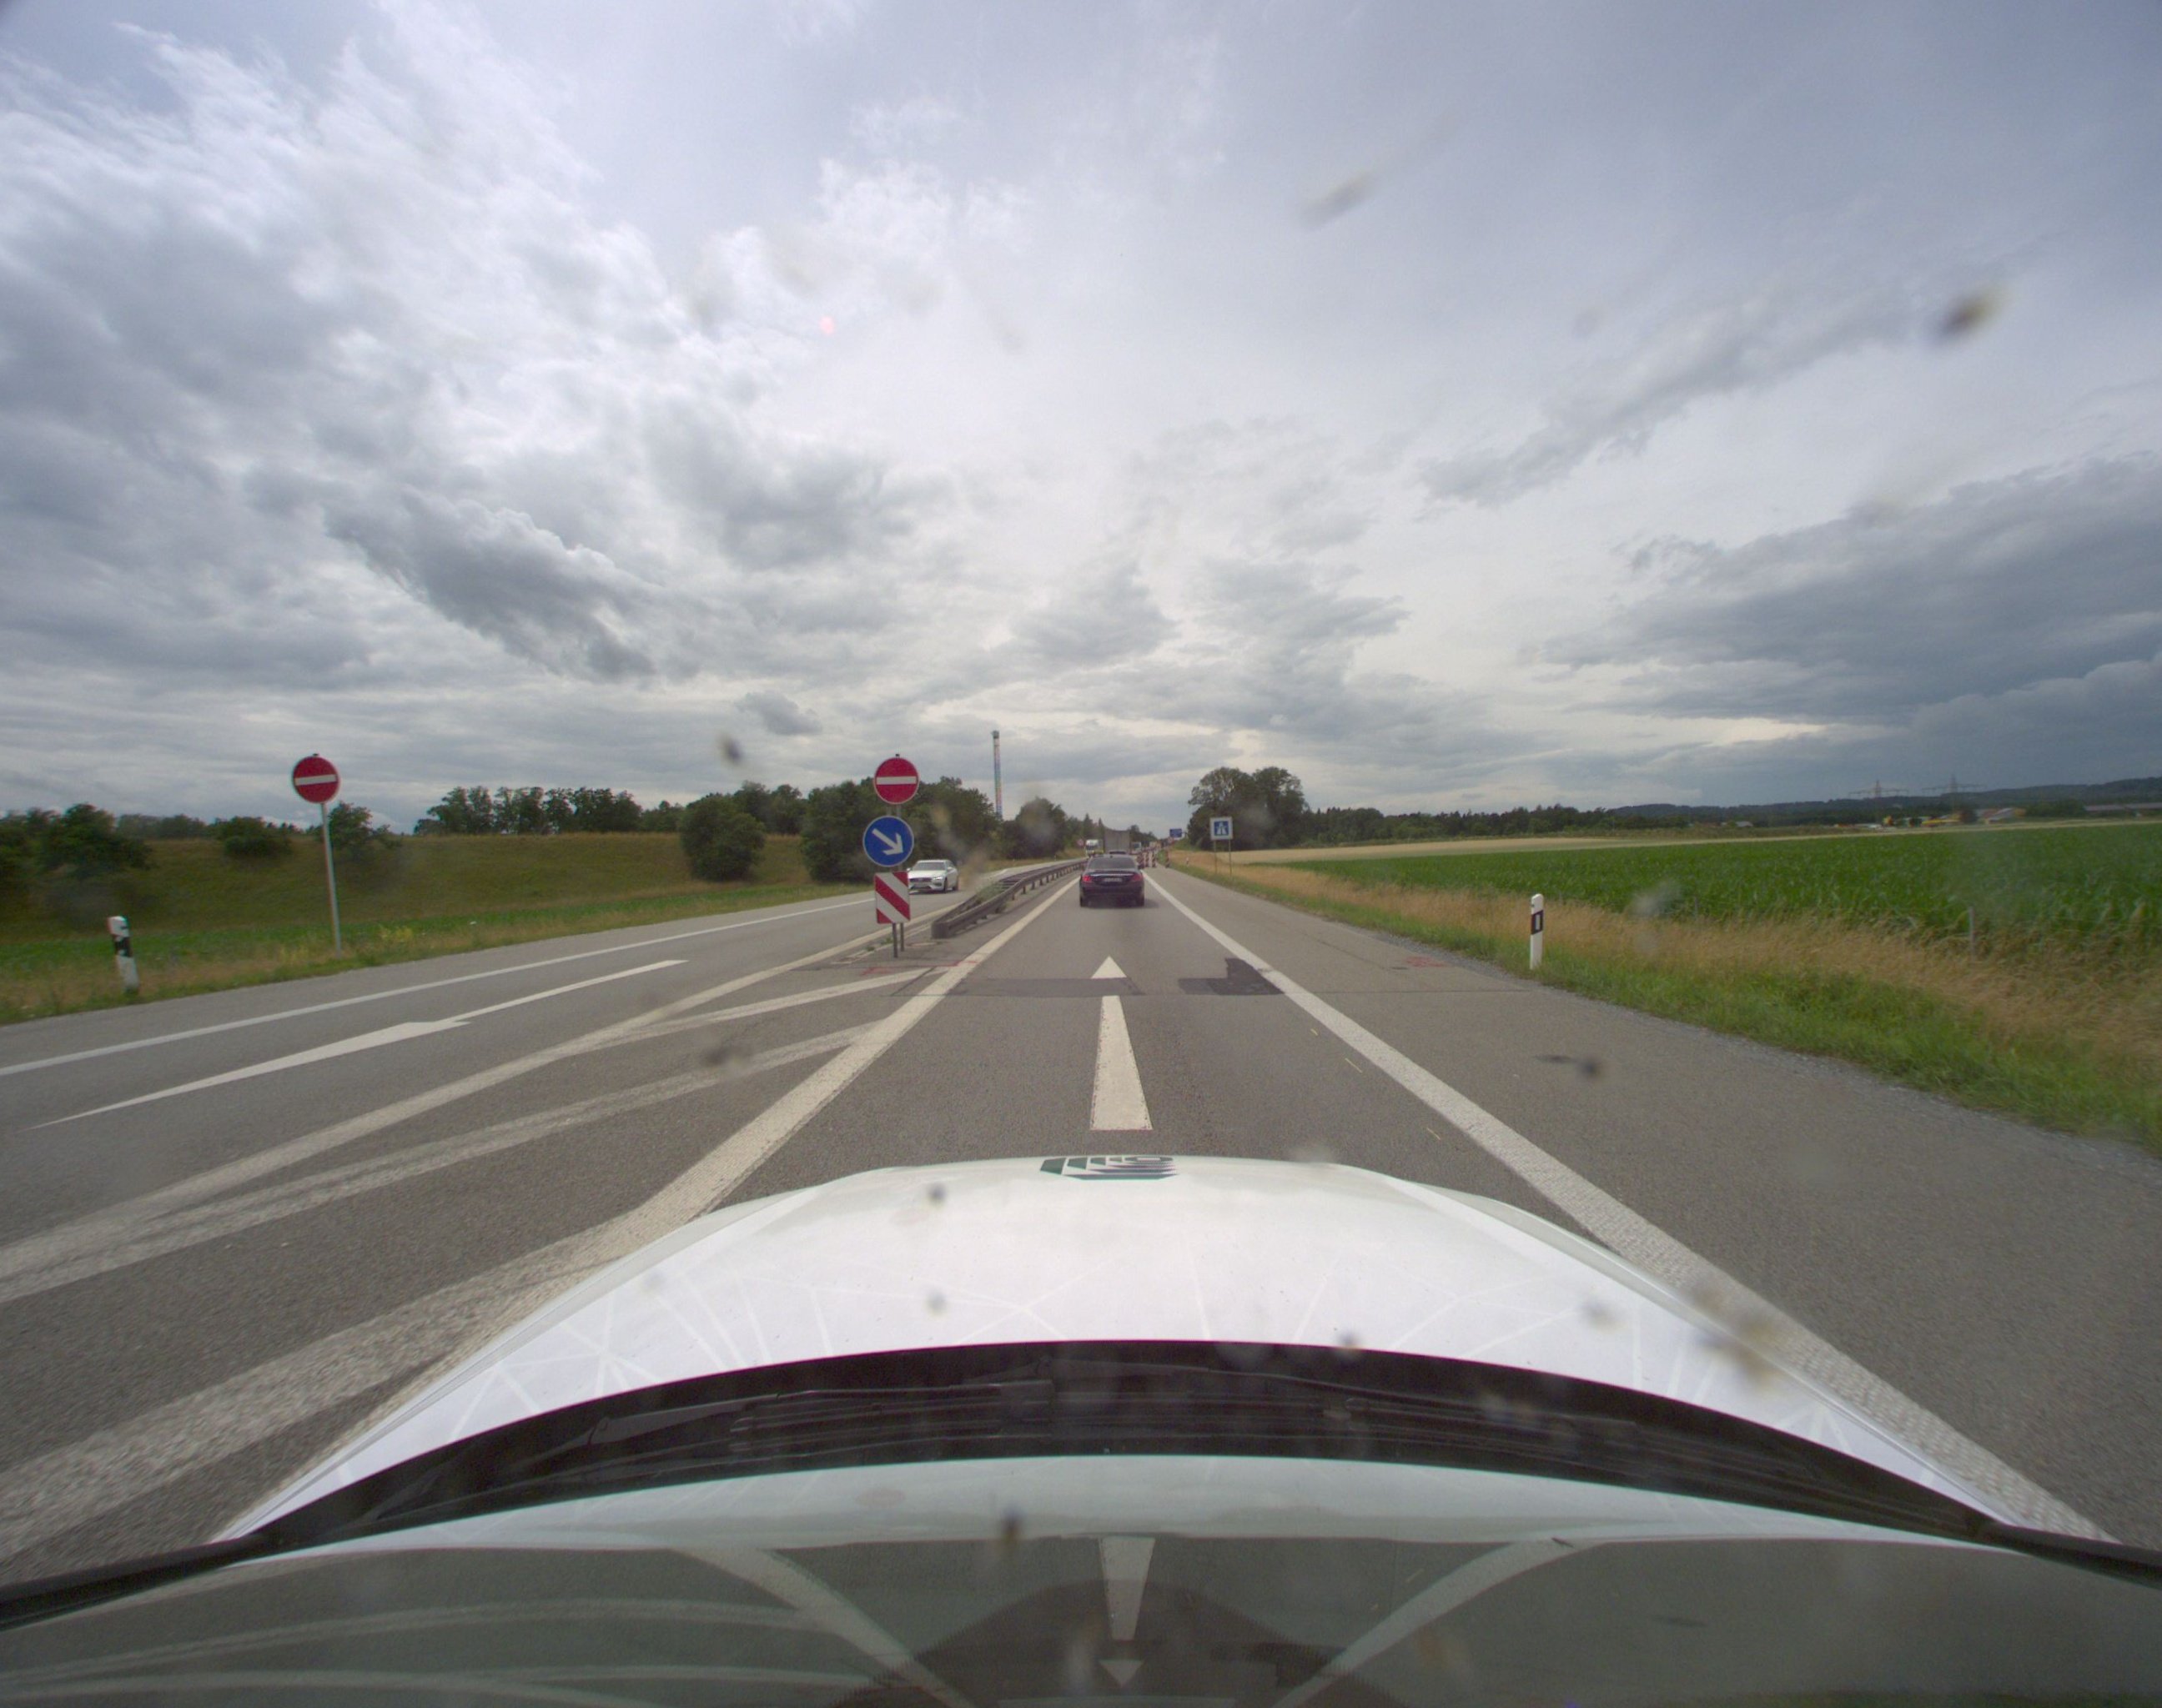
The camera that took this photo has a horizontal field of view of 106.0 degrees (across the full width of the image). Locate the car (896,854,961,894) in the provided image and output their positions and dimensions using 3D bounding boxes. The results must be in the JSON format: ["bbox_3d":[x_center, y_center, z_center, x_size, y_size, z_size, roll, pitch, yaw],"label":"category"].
[{"bbox_3d":[-6.572,0.848,35.609,1.810,1.632,4.604,0,-1,2],"label":"car"}]

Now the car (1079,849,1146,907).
[{"bbox_3d":[0.916,0.665,23.887,1.789,1.560,4.002,0,-1,2],"label":"car"}]

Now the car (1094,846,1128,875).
[{"bbox_3d":[2.130,0.473,58.519,1.990,2.014,3.993,0,-1,-5],"label":"car"}]

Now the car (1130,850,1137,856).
[{"bbox_3d":[12.852,-0.133,199.528,1.644,1.395,3.705,0,-1,0],"label":"car"}]

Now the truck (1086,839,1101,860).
[{"bbox_3d":[2.683,-0.848,169.636,2.787,4.142,7.234,0,-1,3],"label":"truck"}]

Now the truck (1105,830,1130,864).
[{"bbox_3d":[3.852,-0.696,85.528,2.576,3.524,4.816,0,-1,3],"label":"truck"}]
